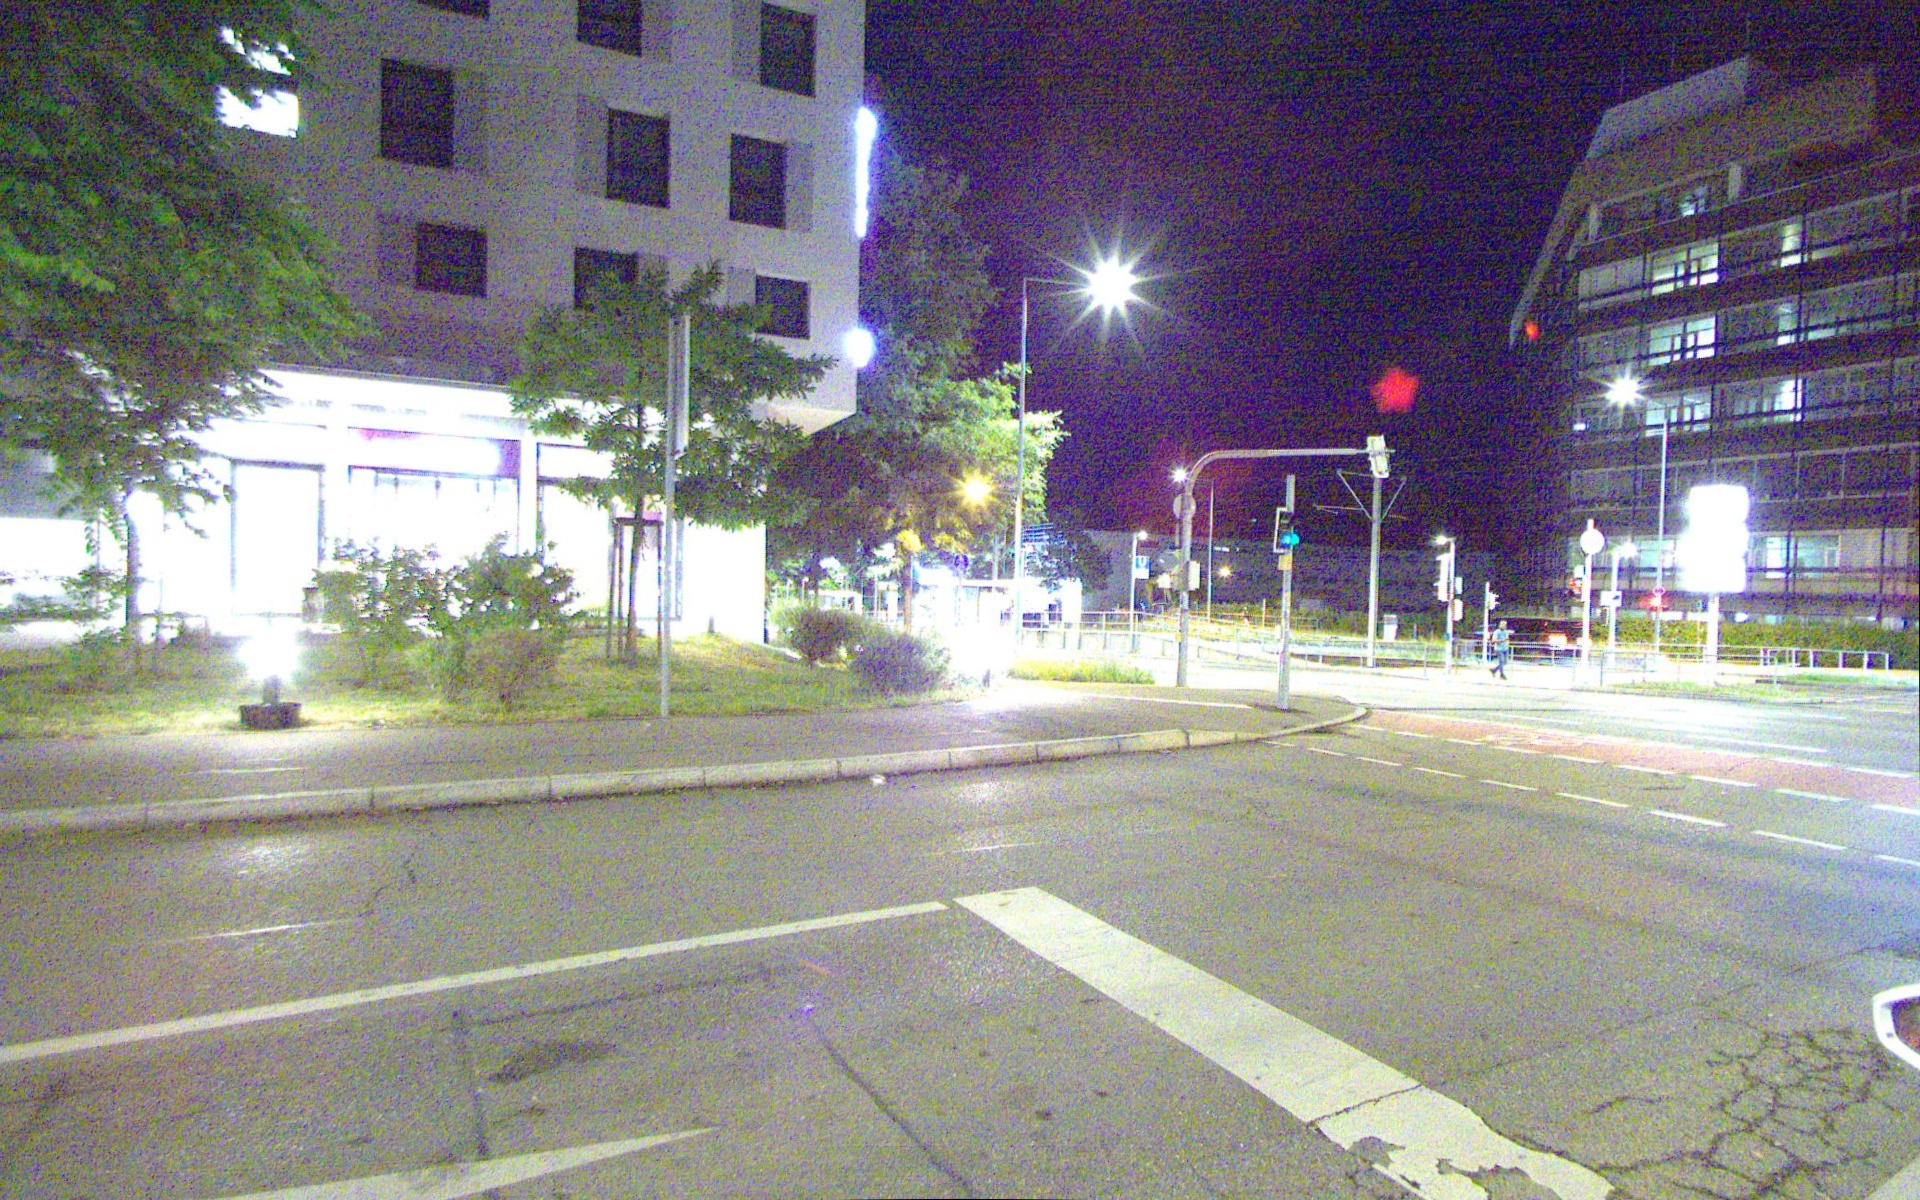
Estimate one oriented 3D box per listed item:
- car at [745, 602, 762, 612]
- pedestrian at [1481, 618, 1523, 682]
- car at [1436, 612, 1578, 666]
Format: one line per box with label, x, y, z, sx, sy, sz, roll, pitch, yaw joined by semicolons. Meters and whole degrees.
car;-33.470;1.094;162.932;1.845;1.506;3.822;3;0;-26
pedestrian;15.234;1.387;28.234;0.669;1.745;0.702;2;0;-22
car;22.272;1.558;41.152;1.845;1.909;4.926;3;0;-26
